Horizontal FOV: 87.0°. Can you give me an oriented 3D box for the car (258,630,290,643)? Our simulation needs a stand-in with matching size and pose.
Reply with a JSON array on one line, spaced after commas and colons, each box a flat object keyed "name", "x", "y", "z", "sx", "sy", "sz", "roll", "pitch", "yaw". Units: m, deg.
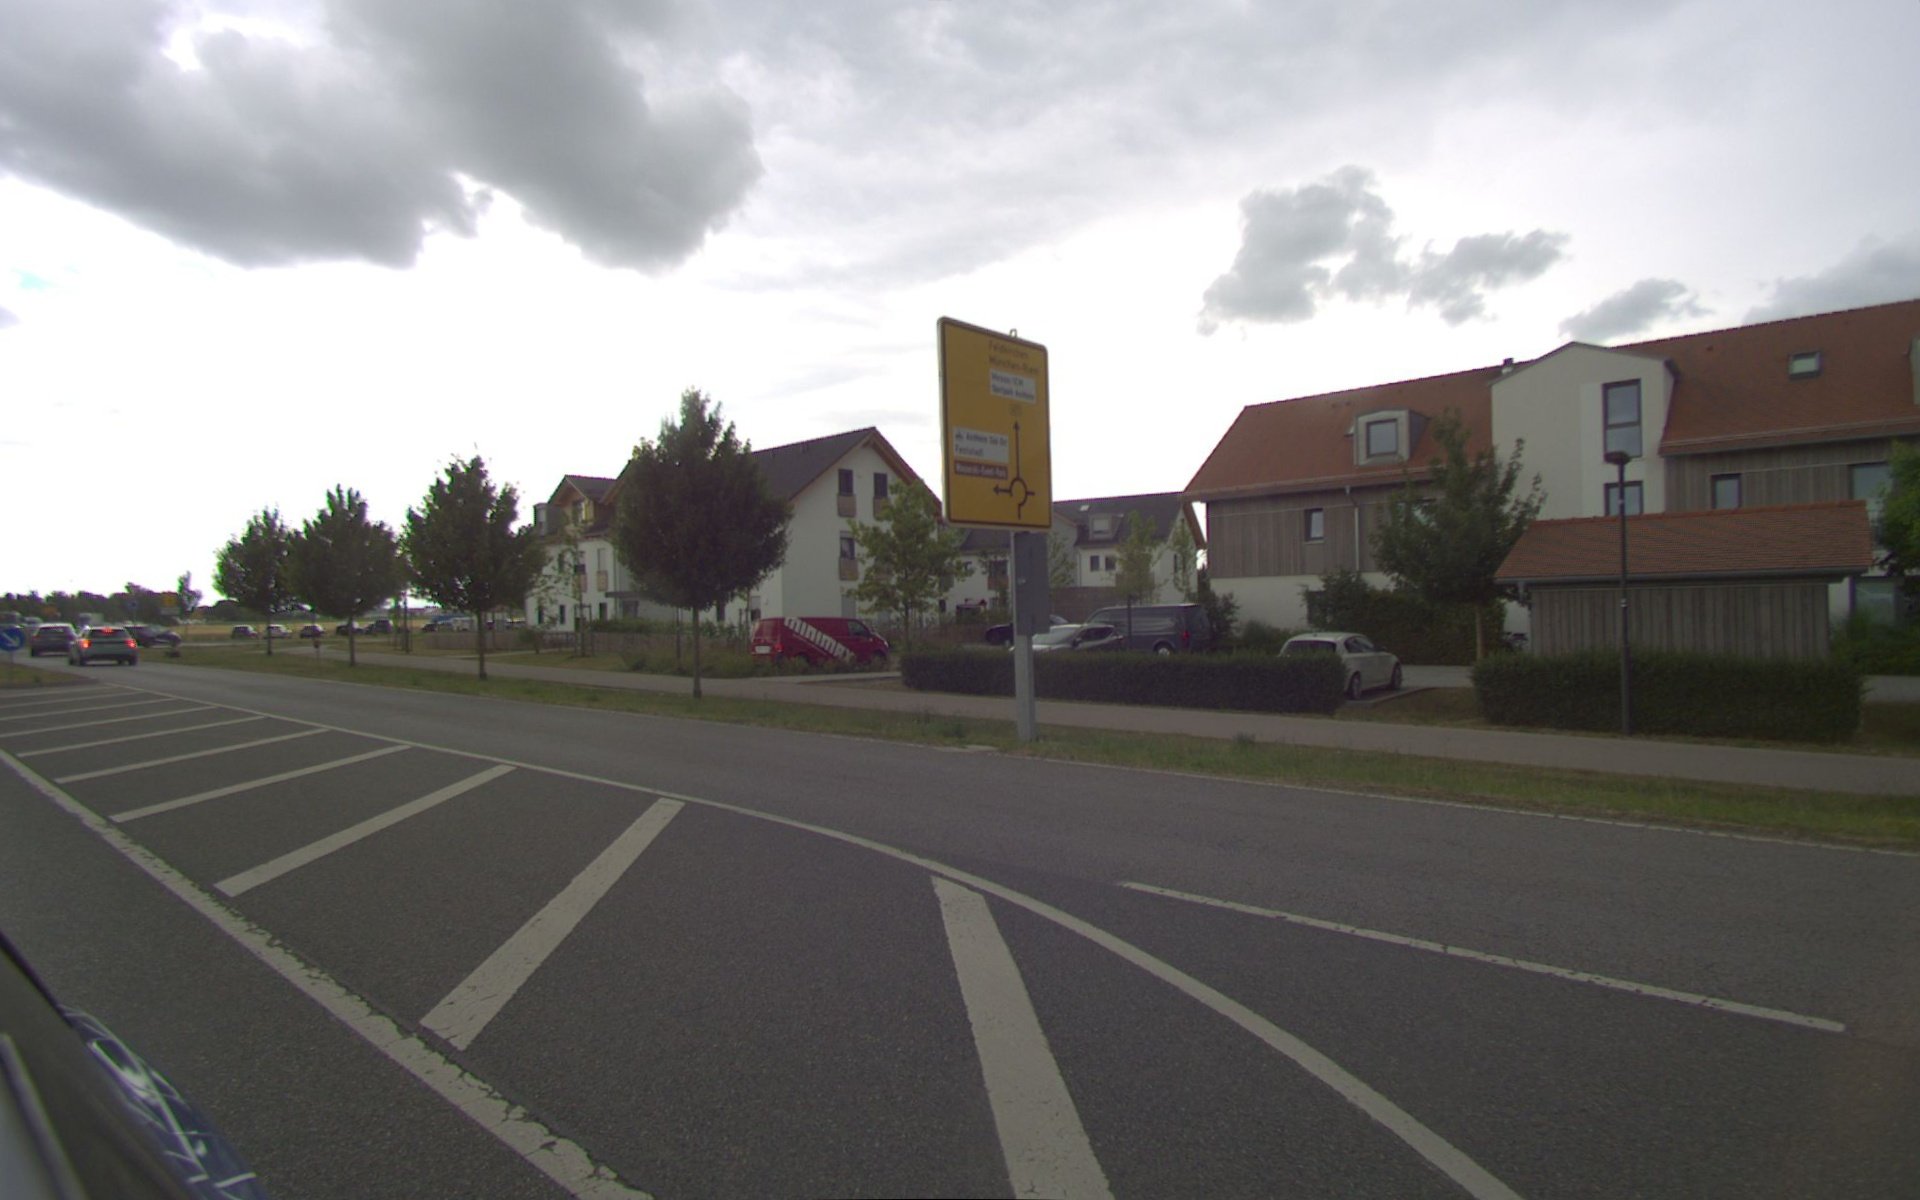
[{"name": "car", "x": -67.704, "y": 3.593, "z": 99.964, "sx": 1.965, "sy": 1.298, "sz": 4.013, "roll": 1, "pitch": -2, "yaw": -24}]

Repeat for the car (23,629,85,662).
[{"name": "car", "x": -44.986, "y": 2.247, "z": 50.238, "sx": 4.214, "sy": 1.594, "sz": 1.806, "roll": -2, "pitch": -3, "yaw": 41}]

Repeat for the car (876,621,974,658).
[{"name": "car", "x": -1.546, "y": 1.695, "z": 43.819, "sx": 3.998, "sy": 1.519, "sz": 1.972, "roll": -2, "pitch": -3, "yaw": 41}]

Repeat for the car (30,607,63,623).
[{"name": "car", "x": -83.347, "y": 1.383, "z": 92.286, "sx": 3.998, "sy": 1.455, "sz": 1.751, "roll": -2, "pitch": -3, "yaw": 41}]

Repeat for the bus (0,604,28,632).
[{"name": "bus", "x": -115.612, "y": 2.203, "z": 122.819, "sx": 6.481, "sy": 3.305, "sz": 2.952, "roll": -2, "pitch": -3, "yaw": 41}]

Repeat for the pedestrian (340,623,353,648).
[{"name": "pedestrian", "x": -39.324, "y": 2.273, "z": 64.847, "sx": 0.586, "sy": 1.541, "sz": 0.540, "roll": -2, "pitch": 0, "yaw": 41}]

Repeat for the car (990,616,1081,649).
[{"name": "car", "x": 3.612, "y": 1.563, "z": 48.791, "sx": 3.998, "sy": 1.519, "sz": 1.972, "roll": -2, "pitch": -3, "yaw": 41}]

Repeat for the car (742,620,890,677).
[{"name": "car", "x": -4.878, "y": 1.634, "z": 34.823, "sx": 4.847, "sy": 1.830, "sz": 1.908, "roll": 1, "pitch": -3, "yaw": -44}]

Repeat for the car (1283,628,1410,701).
[{"name": "car", "x": 8.719, "y": 1.389, "z": 22.699, "sx": 1.562, "sy": 1.501, "sz": 3.478, "roll": -2, "pitch": -3, "yaw": 41}]

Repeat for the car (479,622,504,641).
[{"name": "car", "x": -50.476, "y": 3.384, "z": 109.112, "sx": 2.194, "sy": 2.029, "sz": 4.013, "roll": 0, "pitch": -2, "yaw": -21}]

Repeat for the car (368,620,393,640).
[{"name": "car", "x": -59.170, "y": 3.080, "z": 103.308, "sx": 1.966, "sy": 2.029, "sz": 4.010, "roll": 1, "pitch": -2, "yaw": -34}]

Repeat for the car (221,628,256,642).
[{"name": "car", "x": -70.524, "y": 3.444, "z": 98.957, "sx": 1.965, "sy": 1.298, "sz": 4.013, "roll": 1, "pitch": -2, "yaw": -24}]

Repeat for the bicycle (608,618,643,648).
[{"name": "bicycle", "x": -16.505, "y": 1.620, "z": 49.867, "sx": 2.093, "sy": 1.439, "sz": 0.675, "roll": -2, "pitch": -3, "yaw": 41}]

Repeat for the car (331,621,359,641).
[{"name": "car", "x": -62.115, "y": 3.141, "z": 102.233, "sx": 1.965, "sy": 2.029, "sz": 4.013, "roll": 1, "pitch": -2, "yaw": -24}]

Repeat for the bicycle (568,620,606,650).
[{"name": "bicycle", "x": -17.903, "y": 1.676, "z": 48.520, "sx": 2.342, "sy": 1.423, "sz": 0.675, "roll": -2, "pitch": -3, "yaw": 41}]

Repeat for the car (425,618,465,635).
[{"name": "car", "x": -62.554, "y": 3.199, "z": 122.977, "sx": 1.991, "sy": 2.029, "sz": 3.961, "roll": -1, "pitch": -2, "yaw": 28}]

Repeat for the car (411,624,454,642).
[{"name": "car", "x": -61.682, "y": 3.840, "z": 118.376, "sx": 1.991, "sy": 2.029, "sz": 3.961, "roll": -1, "pitch": -2, "yaw": 28}]

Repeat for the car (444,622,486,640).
[{"name": "car", "x": -57.477, "y": 3.566, "z": 117.475, "sx": 1.994, "sy": 2.029, "sz": 3.956, "roll": -2, "pitch": -2, "yaw": 32}]

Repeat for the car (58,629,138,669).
[{"name": "car", "x": -32.780, "y": 1.842, "z": 38.458, "sx": 3.998, "sy": 1.455, "sz": 1.751, "roll": -2, "pitch": -3, "yaw": 41}]

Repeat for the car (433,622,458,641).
[{"name": "car", "x": -54.945, "y": 3.379, "z": 108.153, "sx": 1.965, "sy": 2.029, "sz": 4.013, "roll": 0, "pitch": -2, "yaw": -21}]

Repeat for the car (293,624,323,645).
[{"name": "car", "x": -65.258, "y": 3.490, "z": 101.354, "sx": 1.965, "sy": 2.029, "sz": 4.013, "roll": 1, "pitch": -2, "yaw": -24}]

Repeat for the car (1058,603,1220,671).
[{"name": "car", "x": 6.045, "y": 1.249, "z": 34.687, "sx": 5.202, "sy": 2.028, "sz": 1.972, "roll": -2, "pitch": 2, "yaw": 44}]

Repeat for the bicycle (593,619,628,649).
[{"name": "bicycle", "x": -17.017, "y": 1.649, "z": 49.296, "sx": 2.093, "sy": 1.428, "sz": 0.675, "roll": -2, "pitch": -3, "yaw": 41}]

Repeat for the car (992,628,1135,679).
[{"name": "car", "x": 3.253, "y": 1.583, "z": 31.019, "sx": 1.905, "sy": 1.441, "sz": 4.853, "roll": -2, "pitch": -3, "yaw": 42}]
